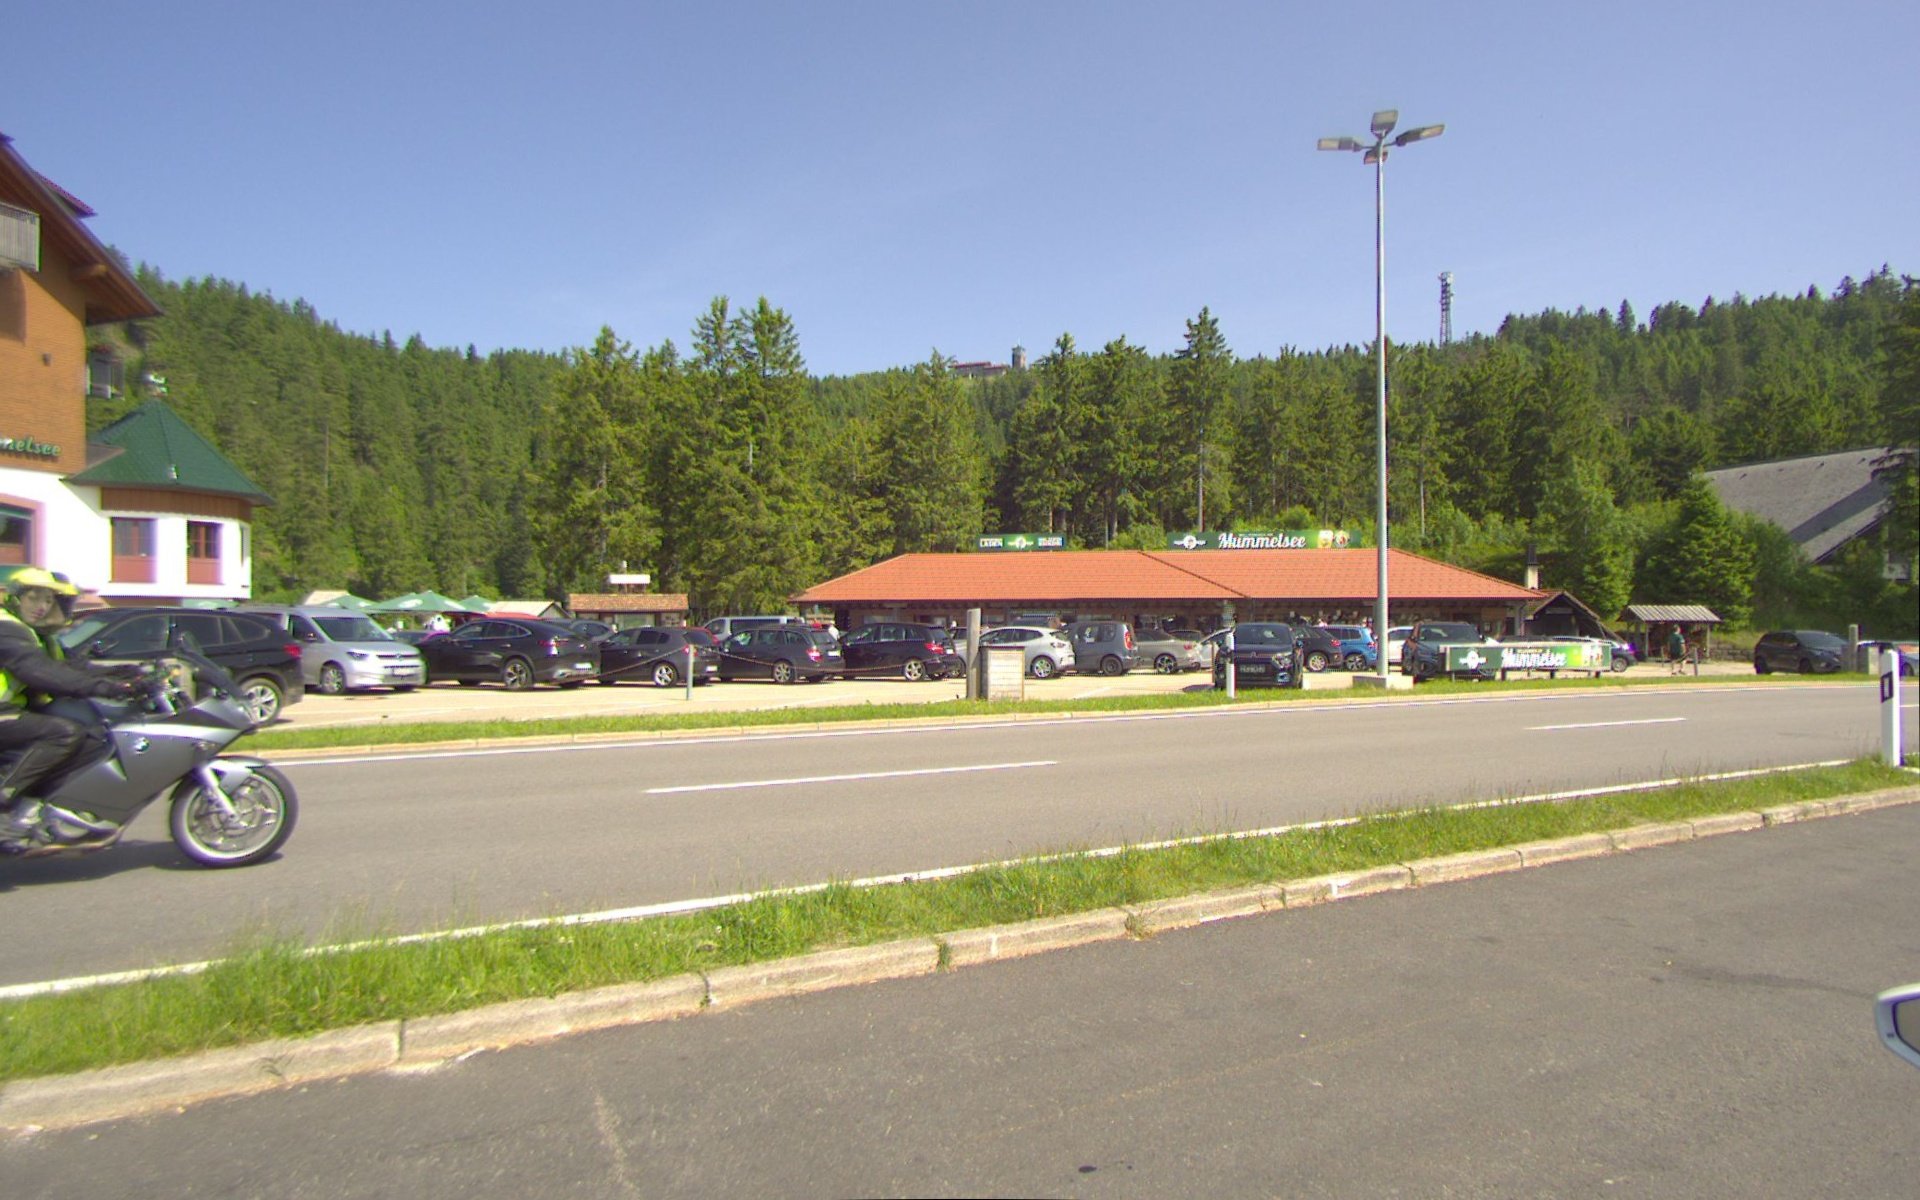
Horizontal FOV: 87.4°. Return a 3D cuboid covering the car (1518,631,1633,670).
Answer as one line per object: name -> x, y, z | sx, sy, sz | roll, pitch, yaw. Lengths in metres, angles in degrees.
car -> 27.000, 2.188, 44.217 | 3.921, 1.639, 2.000 | -1, -1, 20

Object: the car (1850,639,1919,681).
car -> 34.714, 2.153, 36.691 | 1.709, 1.460, 3.972 | -1, -2, 16

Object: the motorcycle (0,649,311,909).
motorcycle -> -4.700, 0.875, 5.157 | 2.261, 1.192, 0.817 | 1, -1, -33

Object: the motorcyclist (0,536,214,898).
motorcyclist -> -4.709, 0.553, 5.183 | 1.279, 1.697, 1.020 | 1, -1, -32

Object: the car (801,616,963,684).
car -> -2.094, 1.321, 26.950 | 3.923, 1.726, 1.825 | -1, -1, 23

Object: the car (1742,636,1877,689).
car -> 29.137, 2.095, 34.638 | 1.753, 1.655, 4.214 | 1, -1, 12

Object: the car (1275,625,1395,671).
car -> 13.476, 1.727, 36.333 | 3.920, 1.594, 2.001 | -1, -2, 18

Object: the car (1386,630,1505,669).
car -> 18.973, 1.954, 39.410 | 3.945, 1.487, 1.777 | -1, -3, 17

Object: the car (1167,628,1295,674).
car -> 8.873, 1.667, 32.895 | 3.920, 1.439, 1.908 | -1, -2, 18

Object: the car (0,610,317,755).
car -> -10.638, 0.940, 12.530 | 1.772, 1.560, 4.192 | -1, -2, 21

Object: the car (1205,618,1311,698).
car -> 6.594, 1.196, 21.996 | 1.749, 1.572, 3.998 | -1, -1, 23

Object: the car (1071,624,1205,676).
car -> 5.647, 1.567, 31.765 | 3.921, 1.565, 1.900 | -1, -1, 19

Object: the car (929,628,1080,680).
car -> 1.278, 1.506, 28.321 | 3.920, 1.389, 1.813 | -1, -1, 18

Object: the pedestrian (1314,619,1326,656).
pedestrian -> 18.639, 1.931, 52.002 | 0.518, 1.898, 0.547 | 1, -1, 16

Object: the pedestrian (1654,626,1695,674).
pedestrian -> 26.627, 1.850, 37.432 | 0.948, 1.757, 0.893 | 0, -1, -28

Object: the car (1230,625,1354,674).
car -> 11.354, 1.683, 34.518 | 3.920, 1.594, 2.001 | -1, -2, 18

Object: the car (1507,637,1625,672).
car -> 25.304, 2.287, 42.074 | 3.921, 1.438, 1.685 | -1, -3, 19

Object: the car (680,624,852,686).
car -> -4.956, 1.382, 25.765 | 3.998, 1.505, 1.716 | -1, -1, 18

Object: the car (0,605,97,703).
car -> -18.493, 0.940, 18.442 | 4.454, 1.686, 1.940 | 0, -1, 17

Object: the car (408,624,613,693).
car -> -10.066, 1.290, 22.578 | 3.920, 1.449, 1.915 | -1, -1, 17

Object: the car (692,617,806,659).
car -> -8.042, 1.449, 38.336 | 3.803, 1.550, 1.911 | -1, -1, 15

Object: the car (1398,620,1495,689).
car -> 12.317, 1.324, 25.648 | 1.706, 1.588, 4.061 | 0, -1, 18

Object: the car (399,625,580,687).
car -> -12.132, 1.427, 26.000 | 3.920, 1.502, 1.936 | -1, -2, 15

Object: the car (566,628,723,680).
car -> -9.092, 1.543, 29.056 | 3.920, 1.437, 1.936 | -1, -2, 15

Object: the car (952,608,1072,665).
car -> 1.868, 1.312, 35.540 | 3.920, 1.929, 2.001 | -1, -2, 15

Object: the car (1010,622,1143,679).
car -> 3.506, 1.498, 30.114 | 3.658, 1.609, 1.736 | -1, -1, 18

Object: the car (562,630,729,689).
car -> -7.569, 1.407, 24.231 | 3.566, 1.339, 1.588 | -1, -1, 16

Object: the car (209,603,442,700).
car -> -13.409, 1.065, 21.245 | 4.441, 1.888, 1.835 | -1, -1, 20

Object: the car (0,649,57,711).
car -> -21.912, 1.737, 21.144 | 1.680, 1.314, 4.000 | -1, -2, 19

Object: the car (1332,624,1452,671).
car -> 16.137, 1.793, 37.732 | 3.950, 1.694, 1.777 | -1, -3, 17
